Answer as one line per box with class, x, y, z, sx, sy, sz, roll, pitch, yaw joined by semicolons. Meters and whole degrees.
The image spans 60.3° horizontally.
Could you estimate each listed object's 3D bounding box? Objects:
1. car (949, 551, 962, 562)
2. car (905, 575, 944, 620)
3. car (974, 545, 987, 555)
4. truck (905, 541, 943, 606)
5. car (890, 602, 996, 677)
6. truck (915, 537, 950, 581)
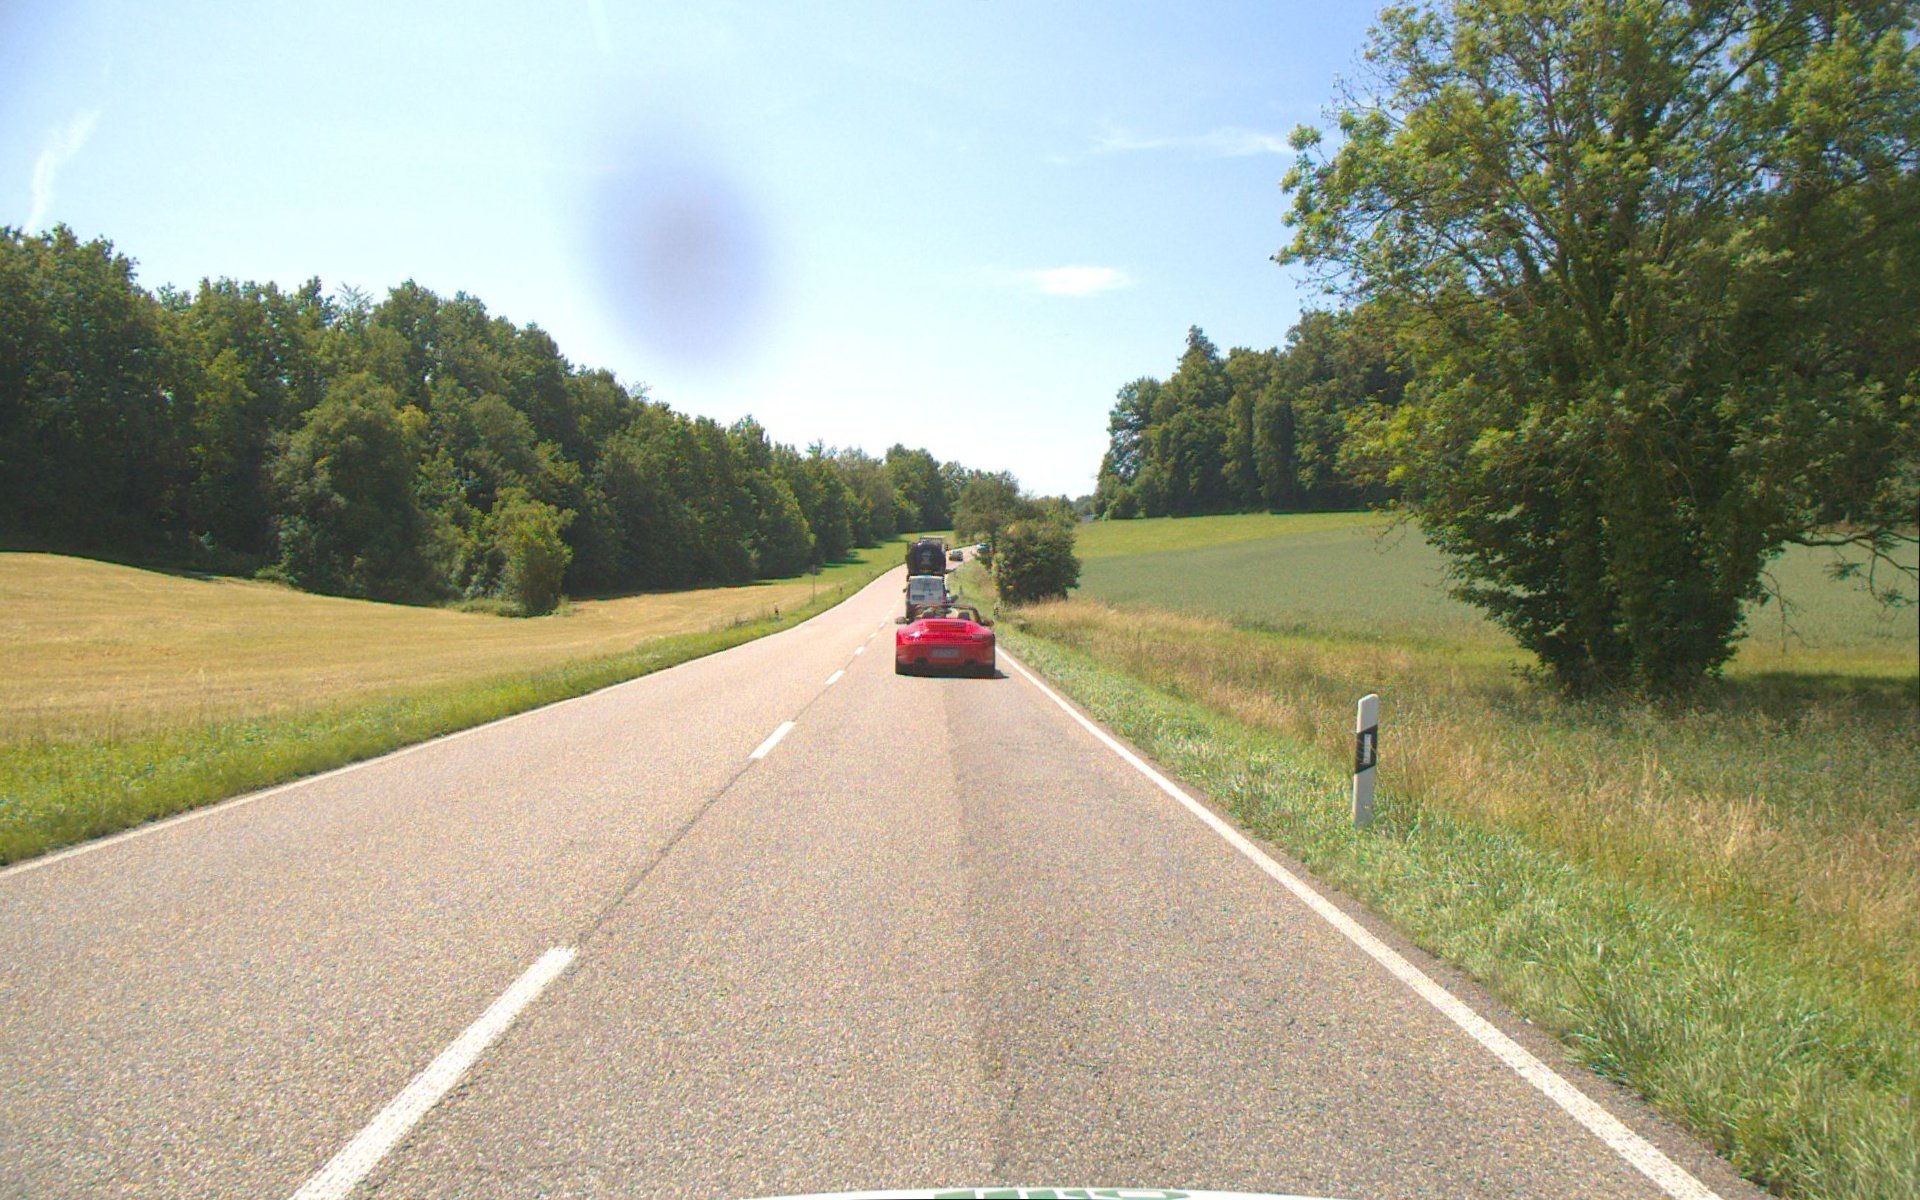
car;-0.597;-6.099;231.892;1.663;1.522;3.712;-2;3;-1
car;-1.612;-0.103;75.511;1.644;1.934;4.009;-2;0;-1
car;3.174;-7.856;258.856;1.662;1.522;3.715;-2;2;5
truck;-2.512;-1.837;112.076;2.355;4.120;12.546;0;1;-2
car;-0.348;0.691;31.161;1.844;1.277;4.008;1;0;-2
truck;-3.255;-4.911;194.091;3.651;4.740;12.028;-2;3;-2
